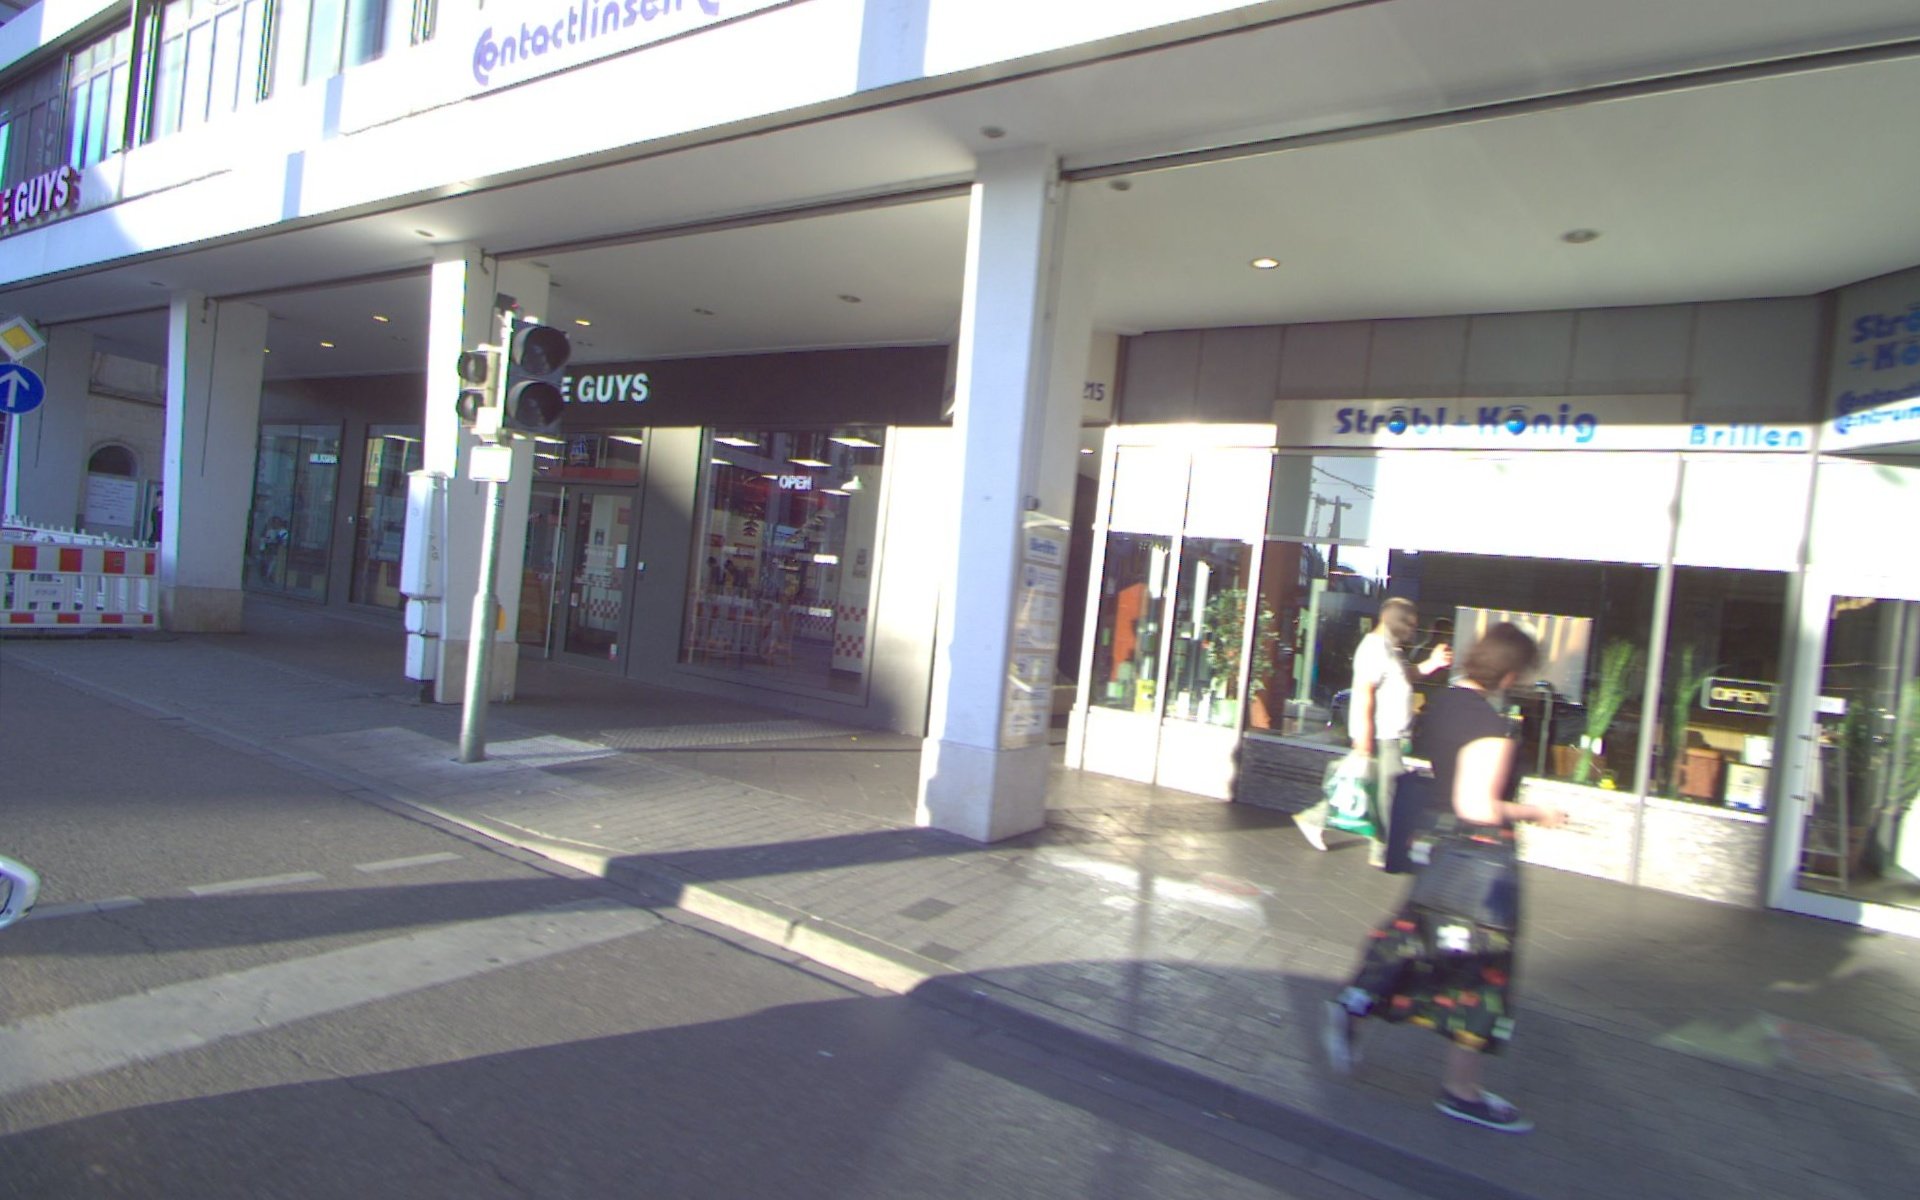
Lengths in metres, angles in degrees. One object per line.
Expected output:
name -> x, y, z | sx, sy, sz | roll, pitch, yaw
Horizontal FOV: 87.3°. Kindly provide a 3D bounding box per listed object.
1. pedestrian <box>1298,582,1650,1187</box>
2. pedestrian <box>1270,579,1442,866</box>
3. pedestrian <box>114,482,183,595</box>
pedestrian -> 1.668, 0.837, 3.310 | 0.536, 1.713, 0.695 | 7, -1, -34
pedestrian -> 2.717, 0.825, 6.915 | 0.695, 1.837, 0.625 | 7, 0, -34
pedestrian -> -15.319, -1.144, 19.013 | 0.697, 2.038, 0.470 | 7, 0, -17
